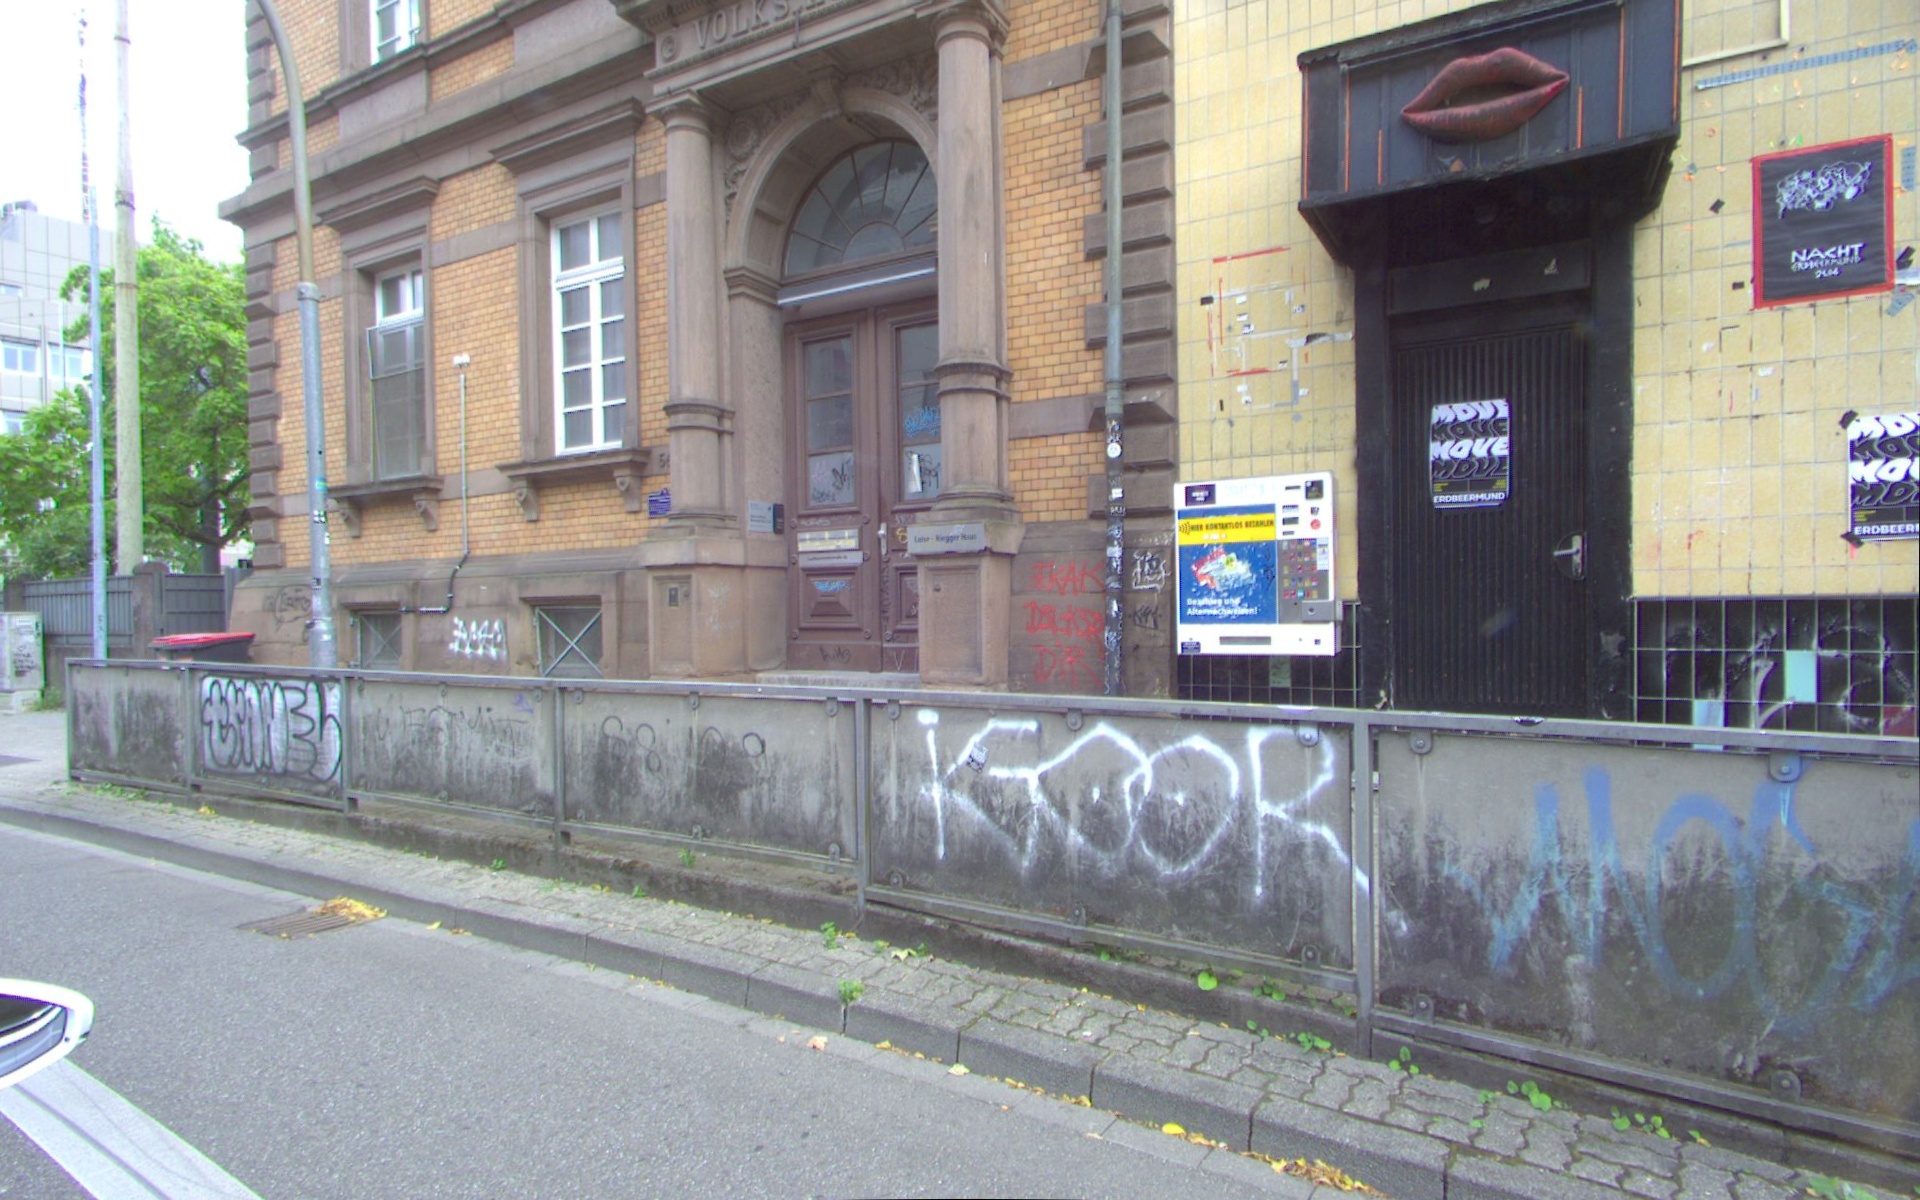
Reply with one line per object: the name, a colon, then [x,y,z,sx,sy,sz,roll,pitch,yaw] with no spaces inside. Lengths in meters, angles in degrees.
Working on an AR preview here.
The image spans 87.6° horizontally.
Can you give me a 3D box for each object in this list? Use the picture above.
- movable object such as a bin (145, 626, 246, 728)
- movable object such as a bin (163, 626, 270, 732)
movable object such as a bin: [-8.894,0.879,11.662,0.667,1.097,0.650,-1,4,27]
movable object such as a bin: [-8.330,0.866,11.233,0.690,1.097,0.662,-1,4,27]
